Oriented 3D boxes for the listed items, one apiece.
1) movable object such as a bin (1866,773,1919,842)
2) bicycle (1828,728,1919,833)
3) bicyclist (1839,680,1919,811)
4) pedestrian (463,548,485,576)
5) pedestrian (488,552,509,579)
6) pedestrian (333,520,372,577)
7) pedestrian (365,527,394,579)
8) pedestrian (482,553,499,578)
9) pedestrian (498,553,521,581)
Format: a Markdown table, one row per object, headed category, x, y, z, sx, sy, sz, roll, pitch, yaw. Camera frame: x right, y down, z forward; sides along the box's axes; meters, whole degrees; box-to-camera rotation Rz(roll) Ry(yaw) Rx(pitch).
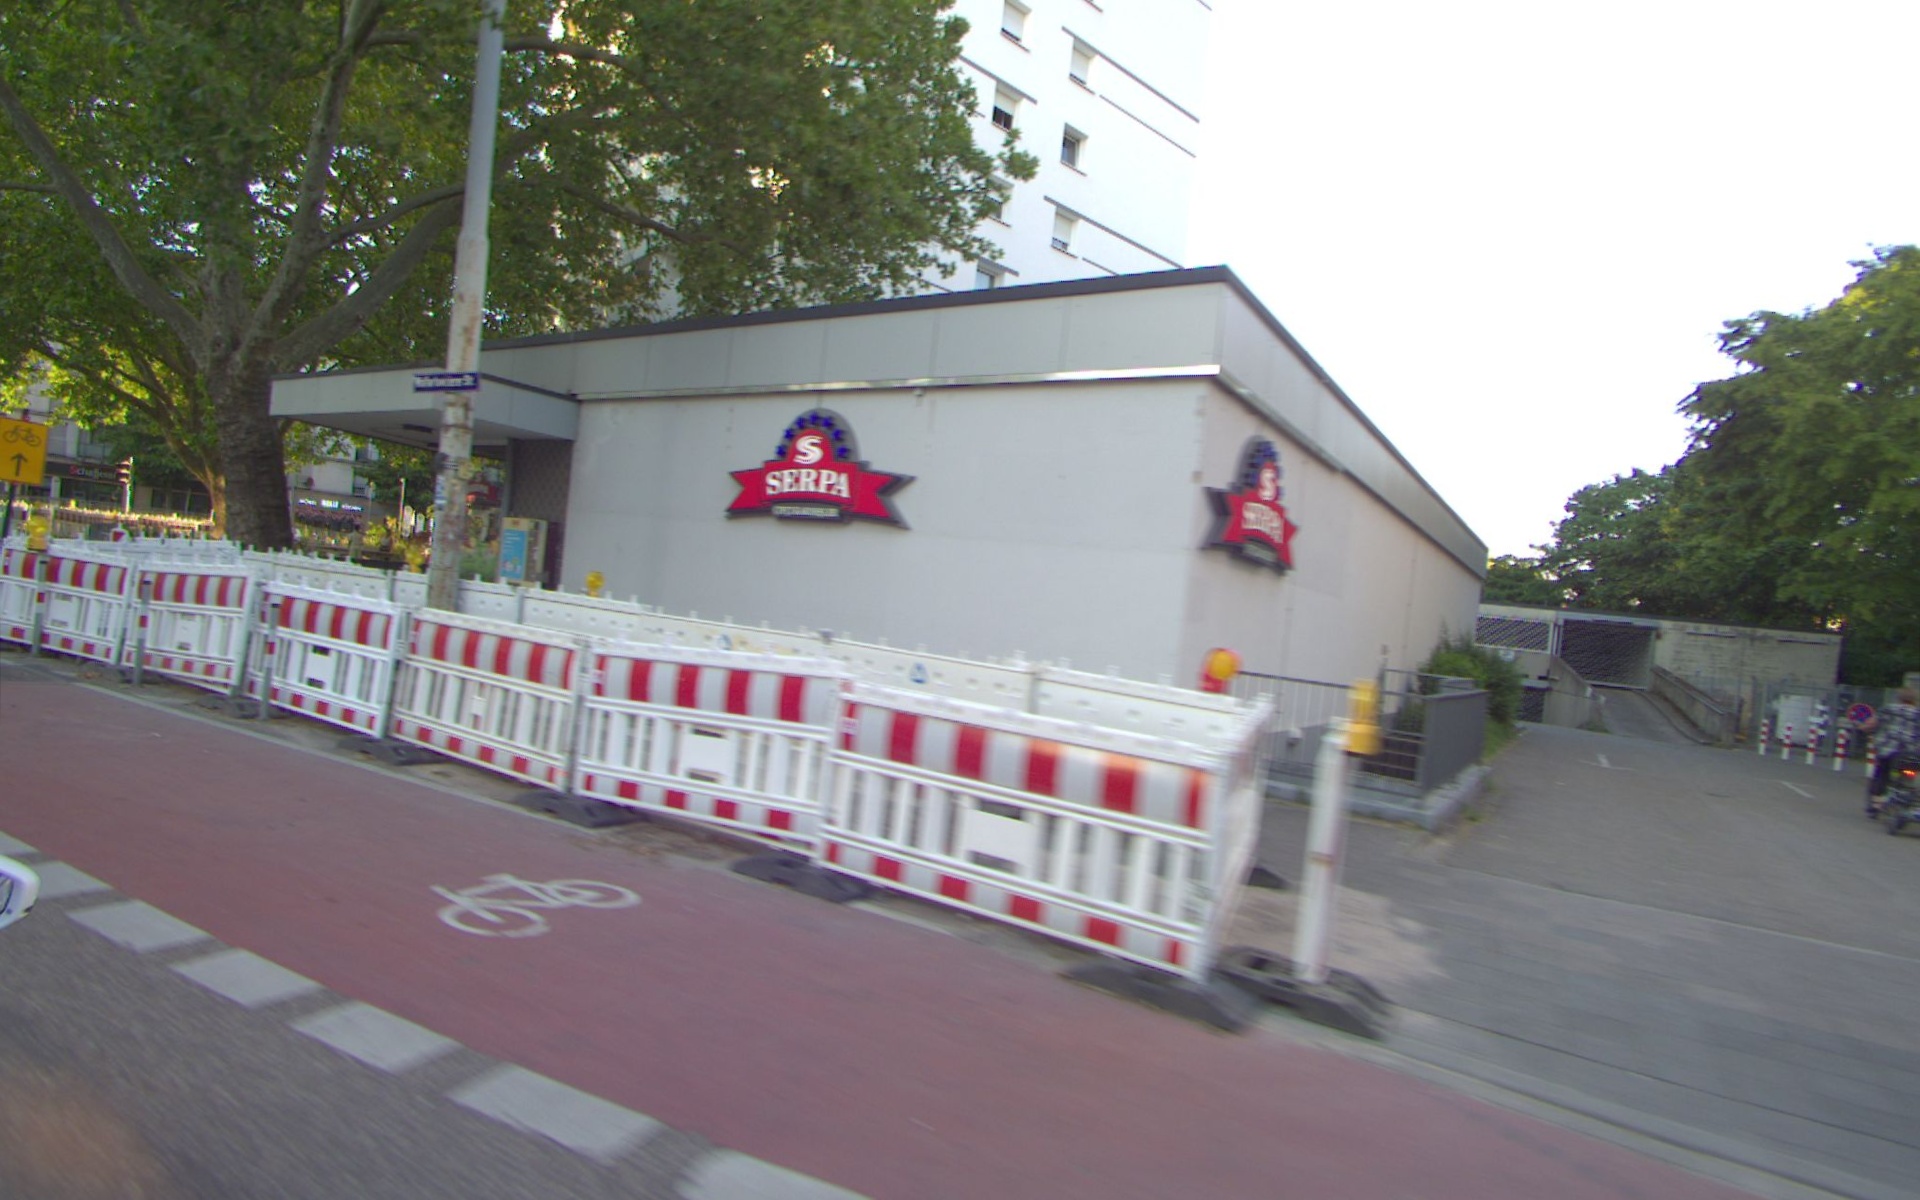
| category | x | y | z | sx | sy | sz | roll | pitch | yaw |
| --- | --- | --- | --- | --- | --- | --- | --- | --- | --- |
| movable object such as a bin | 11.573 | 2.524 | 11.994 | 0.927 | 0.697 | 0.991 | 6 | -2 | 32 |
| bicycle | 12.488 | 2.388 | 13.417 | 0.927 | 1.185 | 2.355 | 6 | -2 | 32 |
| bicyclist | 12.541 | 1.941 | 13.419 | 0.927 | 1.600 | 1.144 | 6 | -1 | 32 |
| pedestrian | -21.744 | -1.696 | 45.011 | 0.626 | 1.126 | 0.569 | 6 | 1 | -44 |
| pedestrian | -21.433 | -1.606 | 46.757 | 0.597 | 1.143 | 0.625 | 6 | 0 | -5 |
| pedestrian | -20.189 | -1.700 | 33.425 | 0.704 | 1.780 | 0.663 | 6 | 1 | 12 |
| pedestrian | -21.051 | -1.693 | 36.482 | 0.711 | 1.780 | 0.656 | 6 | 1 | -37 |
| pedestrian | -20.881 | -1.515 | 44.737 | 0.576 | 1.041 | 0.652 | 6 | 0 | -23 |
| pedestrian | -20.344 | -1.482 | 45.441 | 0.666 | 1.150 | 0.618 | 6 | 1 | -44 |
